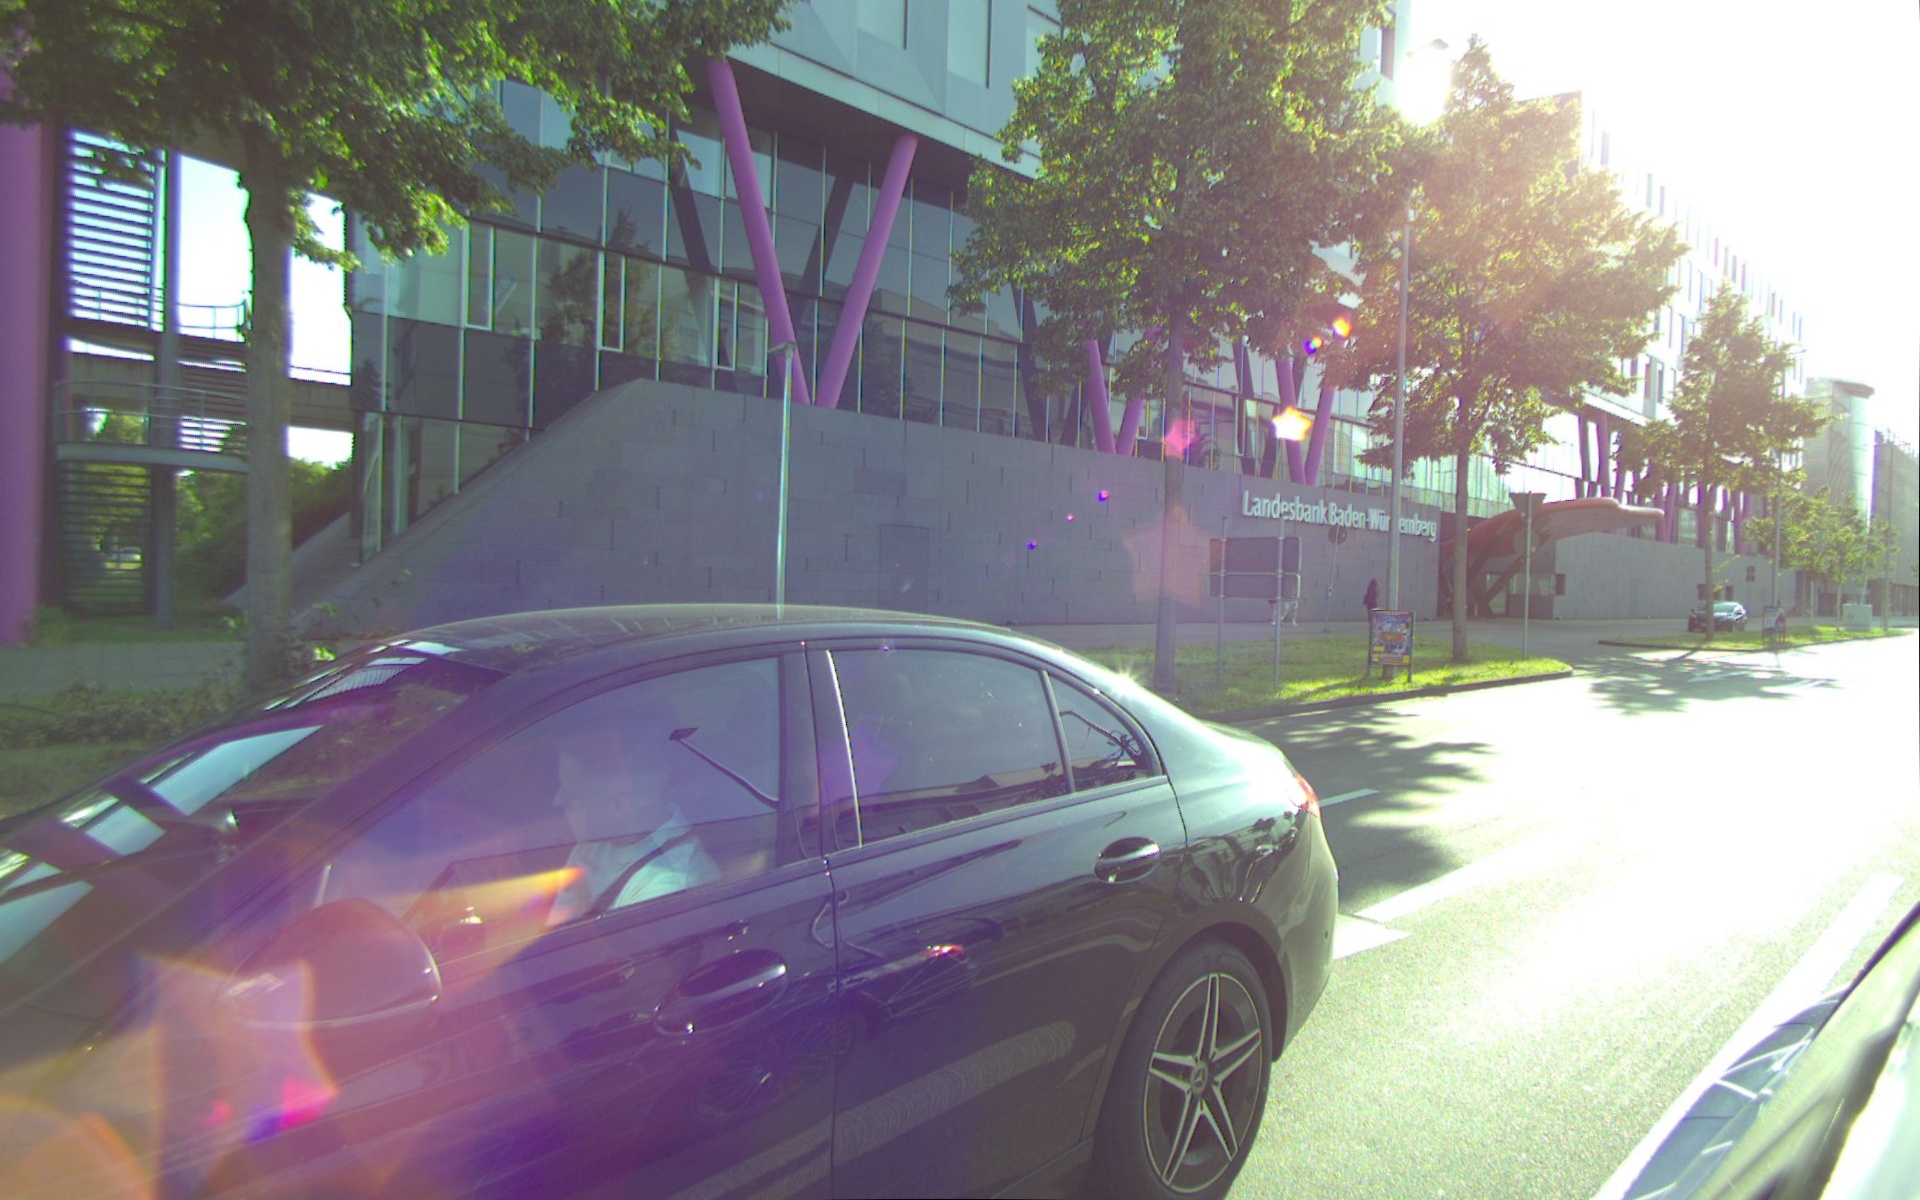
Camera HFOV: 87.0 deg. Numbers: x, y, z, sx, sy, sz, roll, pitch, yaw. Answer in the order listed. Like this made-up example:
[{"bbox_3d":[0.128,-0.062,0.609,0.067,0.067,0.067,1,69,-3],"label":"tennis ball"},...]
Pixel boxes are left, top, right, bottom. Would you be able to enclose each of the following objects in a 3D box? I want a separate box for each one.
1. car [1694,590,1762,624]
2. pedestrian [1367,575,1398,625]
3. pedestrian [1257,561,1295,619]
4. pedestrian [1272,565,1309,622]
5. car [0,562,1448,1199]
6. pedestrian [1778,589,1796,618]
[{"bbox_3d":[34.833,0.323,45.886,4.126,1.407,1.694,1,1,-42],"label":"car"},{"bbox_3d":[14.227,-0.009,34.057,0.724,1.659,0.695,-1,2,-41],"label":"pedestrian"},{"bbox_3d":[10.490,-0.330,33.592,0.838,1.847,0.769,1,3,-41],"label":"pedestrian"},{"bbox_3d":[10.805,-0.221,33.074,0.829,1.815,0.756,1,3,-41],"label":"pedestrian"},{"bbox_3d":[-0.921,0.691,2.220,4.473,1.468,1.843,1,0,-39],"label":"car"},{"bbox_3d":[52.868,0.196,64.705,0.758,1.808,0.725,0,1,-41],"label":"pedestrian"}]
